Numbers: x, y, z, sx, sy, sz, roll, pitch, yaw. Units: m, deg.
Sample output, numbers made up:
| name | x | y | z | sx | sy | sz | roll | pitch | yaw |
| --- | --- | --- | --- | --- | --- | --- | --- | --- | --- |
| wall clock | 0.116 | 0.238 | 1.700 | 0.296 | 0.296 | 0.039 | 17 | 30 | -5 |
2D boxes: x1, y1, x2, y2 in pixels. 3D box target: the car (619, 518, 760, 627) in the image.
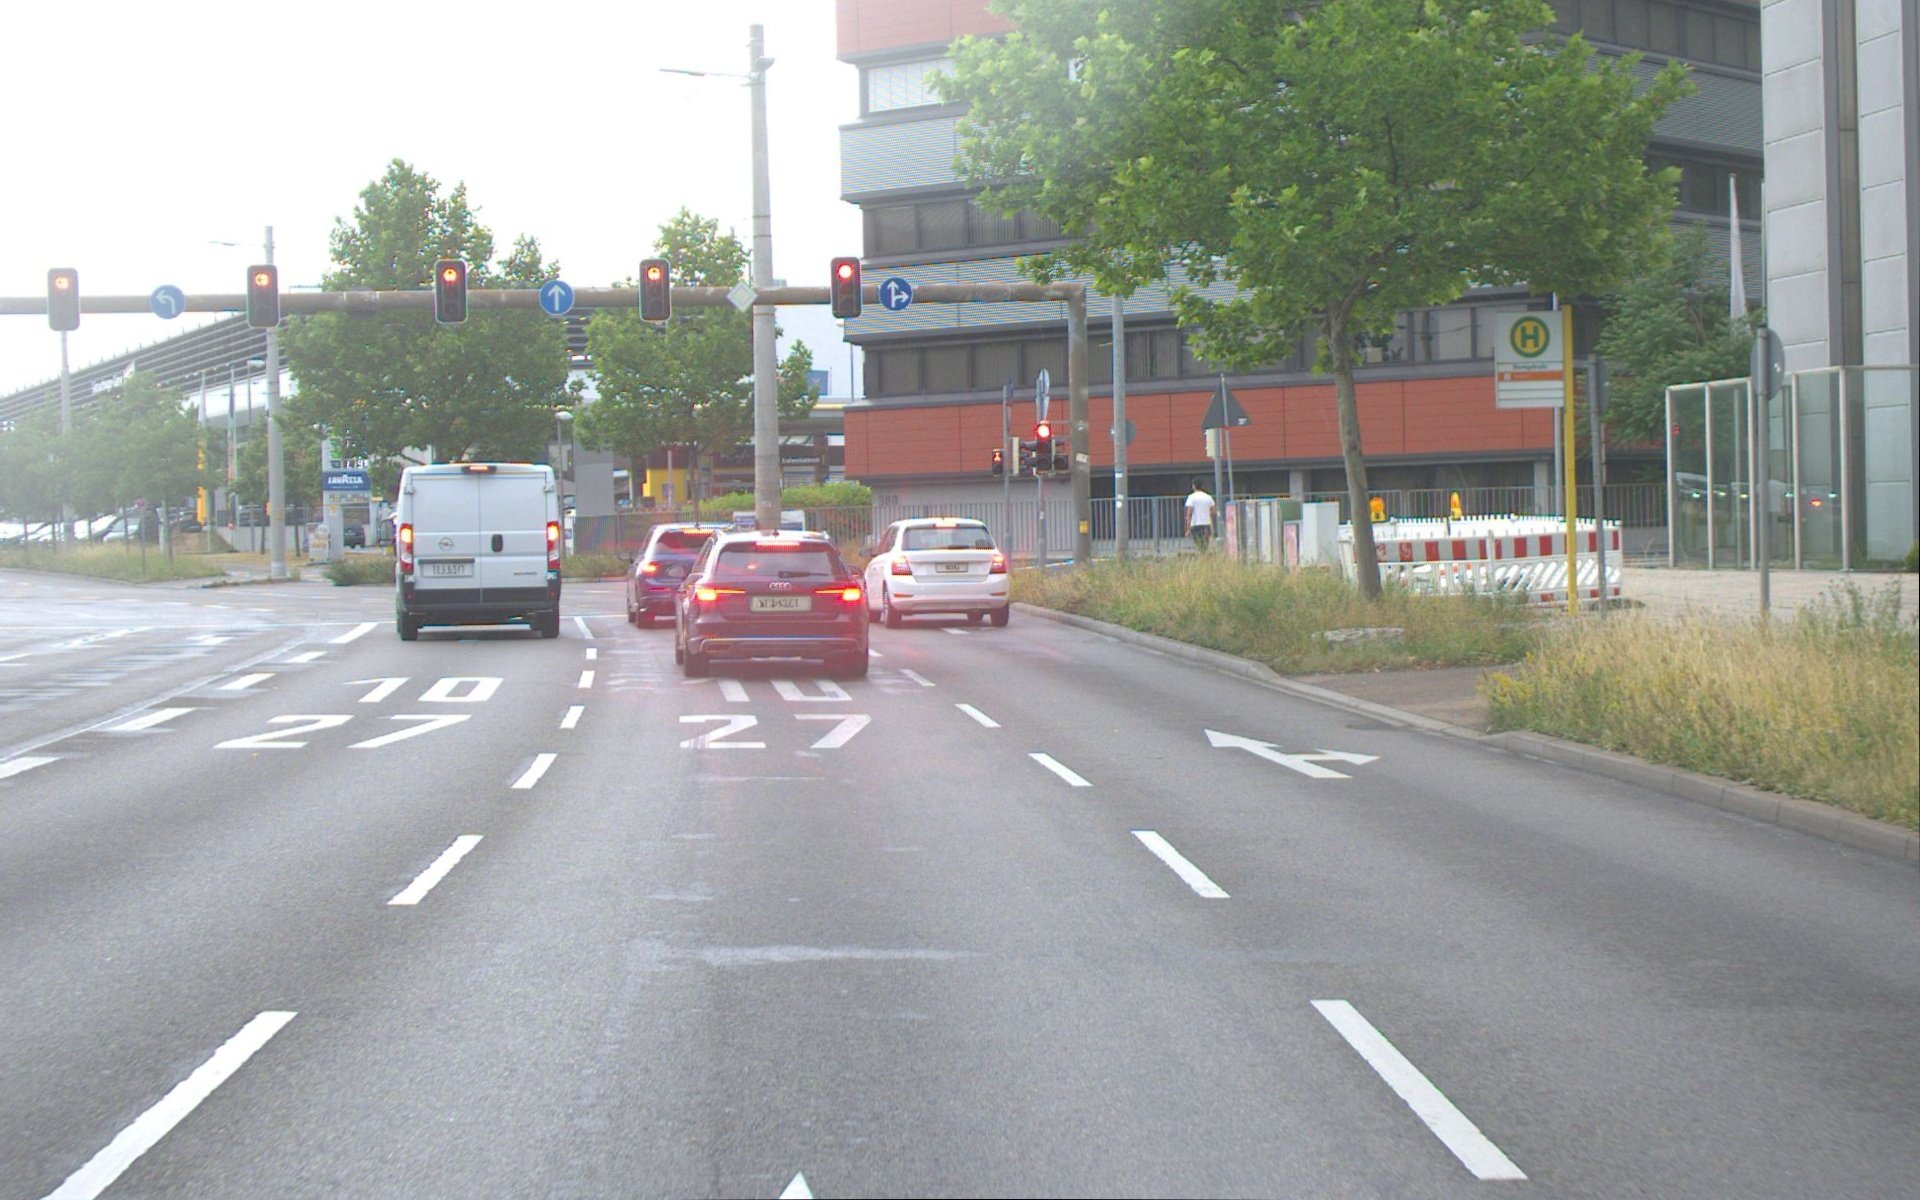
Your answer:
| name | x | y | z | sx | sy | sz | roll | pitch | yaw |
| --- | --- | --- | --- | --- | --- | --- | --- | --- | --- |
| car | -3.834 | -0.400 | 48.861 | 1.893 | 1.460 | 3.910 | -1 | 1 | -4 |

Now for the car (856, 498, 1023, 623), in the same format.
| name | x | y | z | sx | sy | sz | roll | pitch | yaw |
| --- | --- | --- | --- | --- | --- | --- | --- | --- | --- |
| car | -0.329 | -0.536 | 47.306 | 1.828 | 1.650 | 4.001 | 0 | 0 | -7 |

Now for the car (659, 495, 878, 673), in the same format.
| name | x | y | z | sx | sy | sz | roll | pitch | yaw |
| --- | --- | --- | --- | --- | --- | --- | --- | --- | --- |
| car | -1.966 | -0.160 | 34.175 | 1.993 | 1.631 | 4.001 | 1 | 0 | -6 |

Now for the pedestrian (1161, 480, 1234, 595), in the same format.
| name | x | y | z | sx | sy | sz | roll | pitch | yaw |
| --- | --- | --- | --- | --- | --- | --- | --- | --- | --- |
| pedestrian | 4.528 | -1.204 | 65.649 | 1.143 | 2.118 | 1.223 | -2 | 3 | -6 |

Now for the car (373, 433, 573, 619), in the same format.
| name | x | y | z | sx | sy | sz | roll | pitch | yaw |
| --- | --- | --- | --- | --- | --- | --- | --- | --- | --- |
| car | -6.507 | -0.939 | 45.457 | 2.444 | 2.286 | 4.906 | 1 | 0 | -10 |

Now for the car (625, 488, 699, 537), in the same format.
| name | x | y | z | sx | sy | sz | roll | pitch | yaw |
| --- | --- | --- | --- | --- | --- | --- | --- | --- | --- |
| car | -12.788 | -3.727 | 147.190 | 1.870 | 2.007 | 3.775 | 1 | 0 | -26 |
